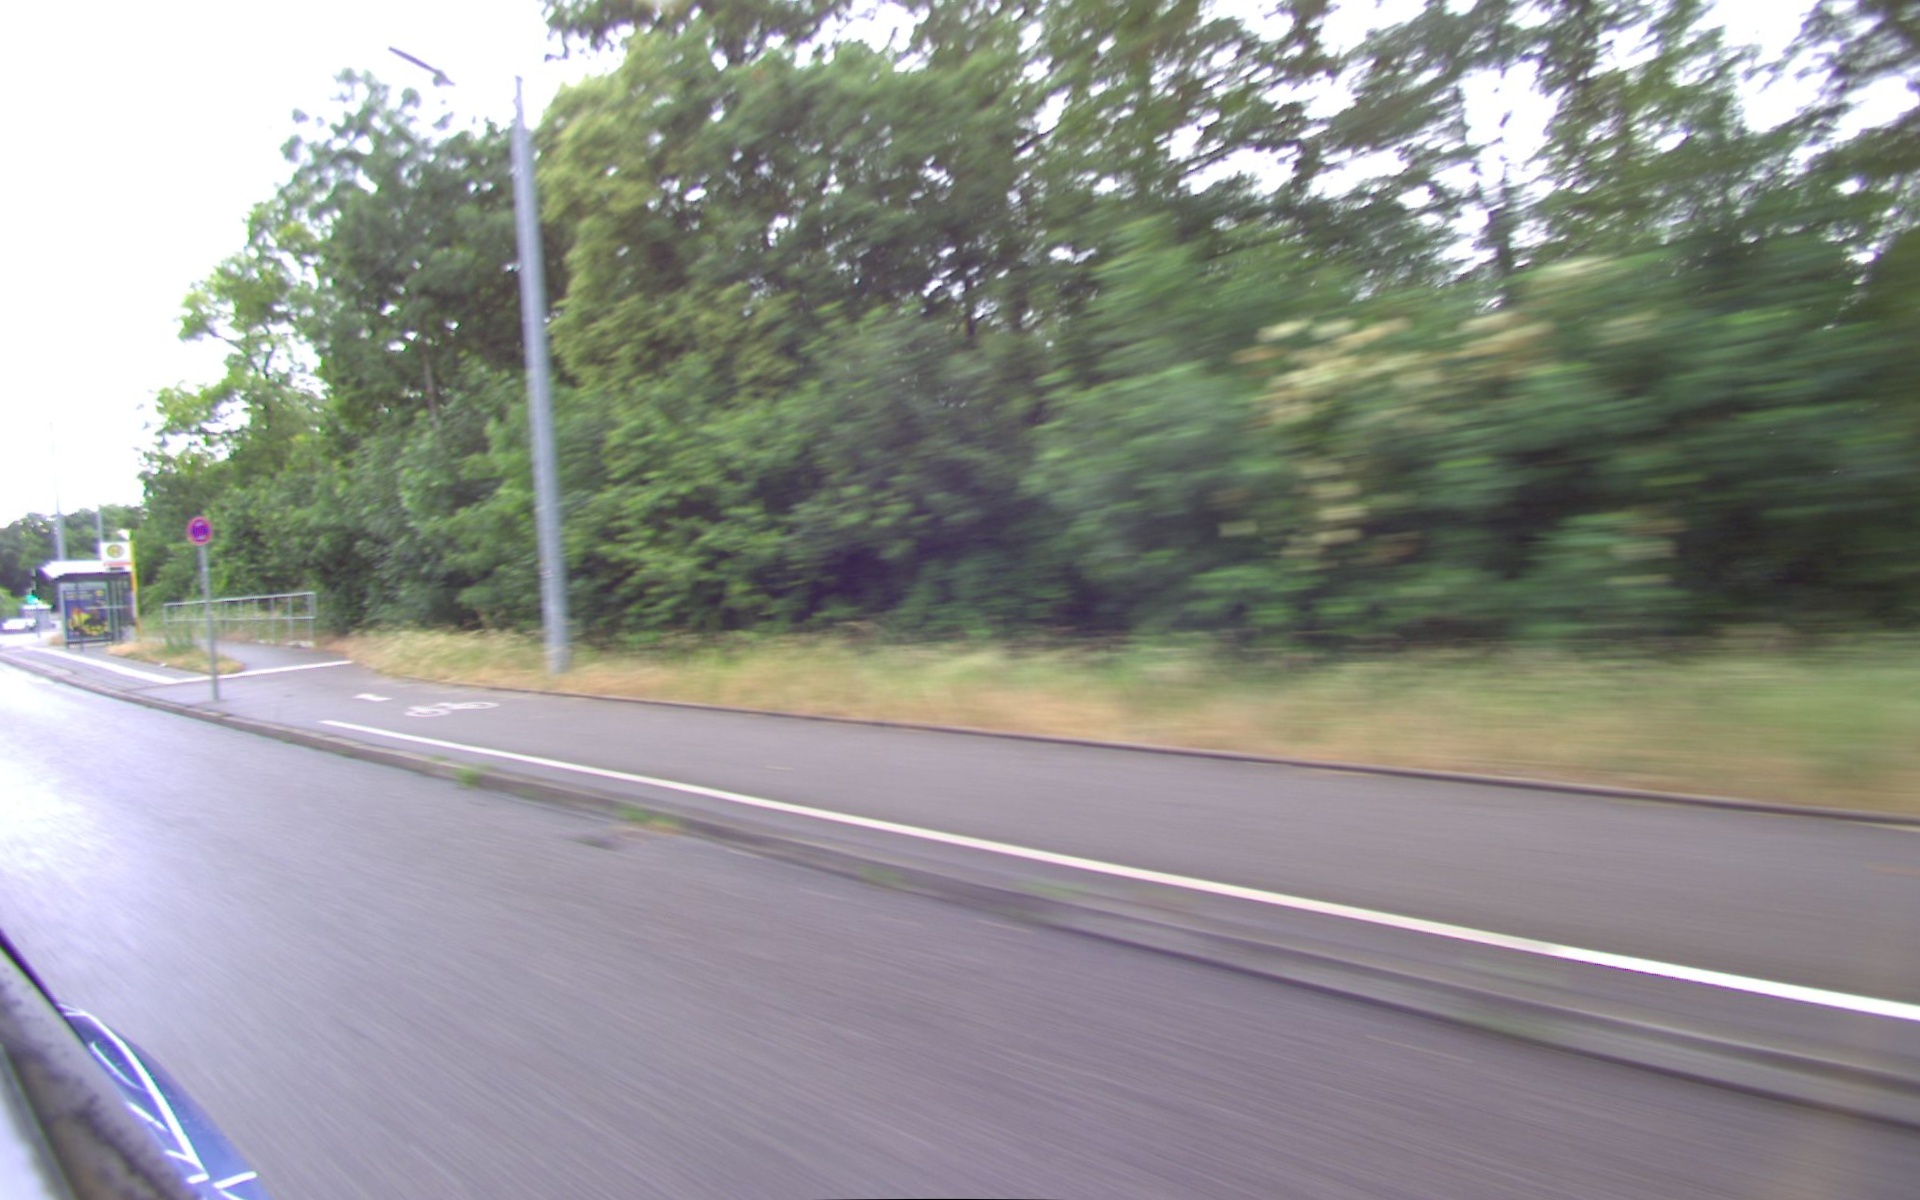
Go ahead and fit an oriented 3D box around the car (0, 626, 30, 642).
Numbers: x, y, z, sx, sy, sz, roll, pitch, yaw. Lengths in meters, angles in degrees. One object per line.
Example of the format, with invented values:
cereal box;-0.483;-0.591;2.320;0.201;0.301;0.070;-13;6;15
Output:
car;-94.530;3.375;101.048;1.788;1.408;4.114;-3;1;-33
